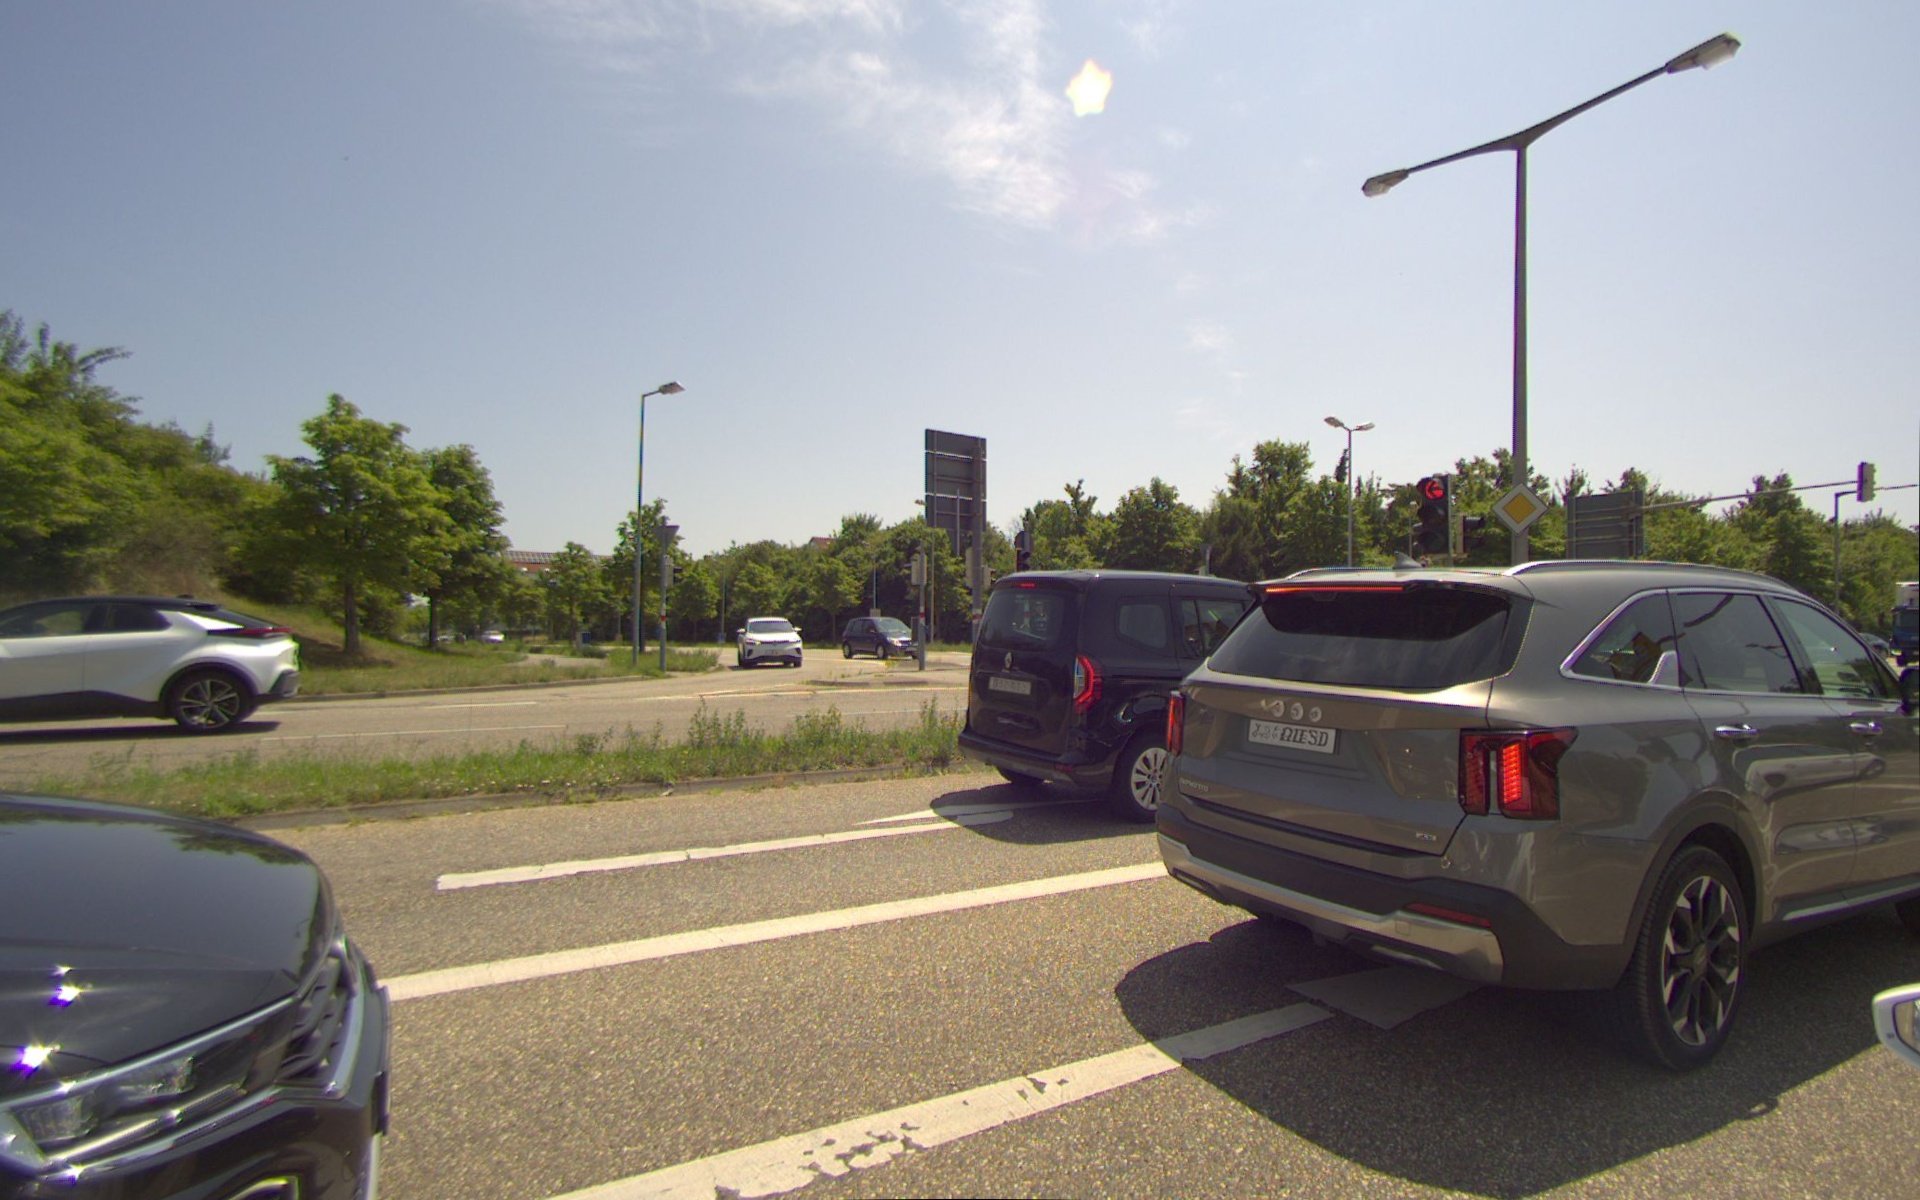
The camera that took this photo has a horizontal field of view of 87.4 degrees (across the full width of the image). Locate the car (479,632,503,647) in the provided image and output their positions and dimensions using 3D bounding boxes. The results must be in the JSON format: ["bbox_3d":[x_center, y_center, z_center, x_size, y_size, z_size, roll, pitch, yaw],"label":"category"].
[{"bbox_3d":[-48.425,4.067,103.719,1.617,1.379,3.960,1,-1,-35],"label":"car"}]

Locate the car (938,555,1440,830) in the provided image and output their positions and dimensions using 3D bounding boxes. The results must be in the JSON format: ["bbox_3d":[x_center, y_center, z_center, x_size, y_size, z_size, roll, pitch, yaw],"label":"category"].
[{"bbox_3d":[2.077,0.674,8.643,4.274,1.850,1.721,1,-1,-32],"label":"car"}]

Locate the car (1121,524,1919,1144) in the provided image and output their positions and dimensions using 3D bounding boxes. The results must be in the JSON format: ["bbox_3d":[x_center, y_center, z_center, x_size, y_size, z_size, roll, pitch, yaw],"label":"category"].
[{"bbox_3d":[3.111,0.705,4.695,4.590,1.684,1.795,2,-2,-31],"label":"car"}]

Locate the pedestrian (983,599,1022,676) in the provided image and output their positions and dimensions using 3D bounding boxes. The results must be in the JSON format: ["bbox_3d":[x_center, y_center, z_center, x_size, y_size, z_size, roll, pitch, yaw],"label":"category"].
[{"bbox_3d":[0.973,0.860,23.079,0.779,1.759,0.582,1,-1,-9],"label":"pedestrian"}]

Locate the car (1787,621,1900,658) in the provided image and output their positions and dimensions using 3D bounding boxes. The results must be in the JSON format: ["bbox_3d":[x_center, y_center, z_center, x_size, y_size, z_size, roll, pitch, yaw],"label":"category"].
[{"bbox_3d":[42.807,1.907,48.686,4.845,1.755,1.822,1,-1,-16],"label":"car"}]

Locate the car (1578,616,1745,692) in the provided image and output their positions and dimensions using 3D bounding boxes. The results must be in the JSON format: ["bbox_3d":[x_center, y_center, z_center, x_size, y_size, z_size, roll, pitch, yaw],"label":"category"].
[{"bbox_3d":[16.812,1.251,24.029,4.173,1.685,1.699,1,-1,-30],"label":"car"}]

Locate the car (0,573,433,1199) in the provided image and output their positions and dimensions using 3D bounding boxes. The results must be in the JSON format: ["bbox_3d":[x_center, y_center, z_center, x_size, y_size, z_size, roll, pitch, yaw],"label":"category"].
[{"bbox_3d":[-2.876,0.676,1.159,3.924,1.532,1.726,2,0,-31],"label":"car"}]

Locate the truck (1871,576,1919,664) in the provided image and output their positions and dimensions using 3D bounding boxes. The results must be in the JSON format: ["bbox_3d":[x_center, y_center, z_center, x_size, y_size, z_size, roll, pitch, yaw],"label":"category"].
[{"bbox_3d":[42.423,0.897,43.339,7.184,3.618,2.674,1,-1,-31],"label":"truck"}]

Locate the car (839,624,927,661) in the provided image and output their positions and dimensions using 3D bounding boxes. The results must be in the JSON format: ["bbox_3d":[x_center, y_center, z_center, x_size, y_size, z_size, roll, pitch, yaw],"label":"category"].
[{"bbox_3d":[-3.034,1.602,38.865,1.685,1.353,3.964,1,-2,-33],"label":"car"}]

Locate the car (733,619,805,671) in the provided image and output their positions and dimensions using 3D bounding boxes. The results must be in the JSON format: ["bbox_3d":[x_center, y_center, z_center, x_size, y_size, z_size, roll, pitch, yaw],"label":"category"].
[{"bbox_3d":[-6.352,1.430,33.109,1.849,1.522,4.294,-1,-1,-17],"label":"car"}]

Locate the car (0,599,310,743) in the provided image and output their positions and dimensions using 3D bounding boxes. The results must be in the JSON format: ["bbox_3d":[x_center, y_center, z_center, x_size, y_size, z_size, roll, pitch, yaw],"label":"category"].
[{"bbox_3d":[-9.854,0.748,11.329,4.120,1.475,1.814,1,-1,-31],"label":"car"}]
